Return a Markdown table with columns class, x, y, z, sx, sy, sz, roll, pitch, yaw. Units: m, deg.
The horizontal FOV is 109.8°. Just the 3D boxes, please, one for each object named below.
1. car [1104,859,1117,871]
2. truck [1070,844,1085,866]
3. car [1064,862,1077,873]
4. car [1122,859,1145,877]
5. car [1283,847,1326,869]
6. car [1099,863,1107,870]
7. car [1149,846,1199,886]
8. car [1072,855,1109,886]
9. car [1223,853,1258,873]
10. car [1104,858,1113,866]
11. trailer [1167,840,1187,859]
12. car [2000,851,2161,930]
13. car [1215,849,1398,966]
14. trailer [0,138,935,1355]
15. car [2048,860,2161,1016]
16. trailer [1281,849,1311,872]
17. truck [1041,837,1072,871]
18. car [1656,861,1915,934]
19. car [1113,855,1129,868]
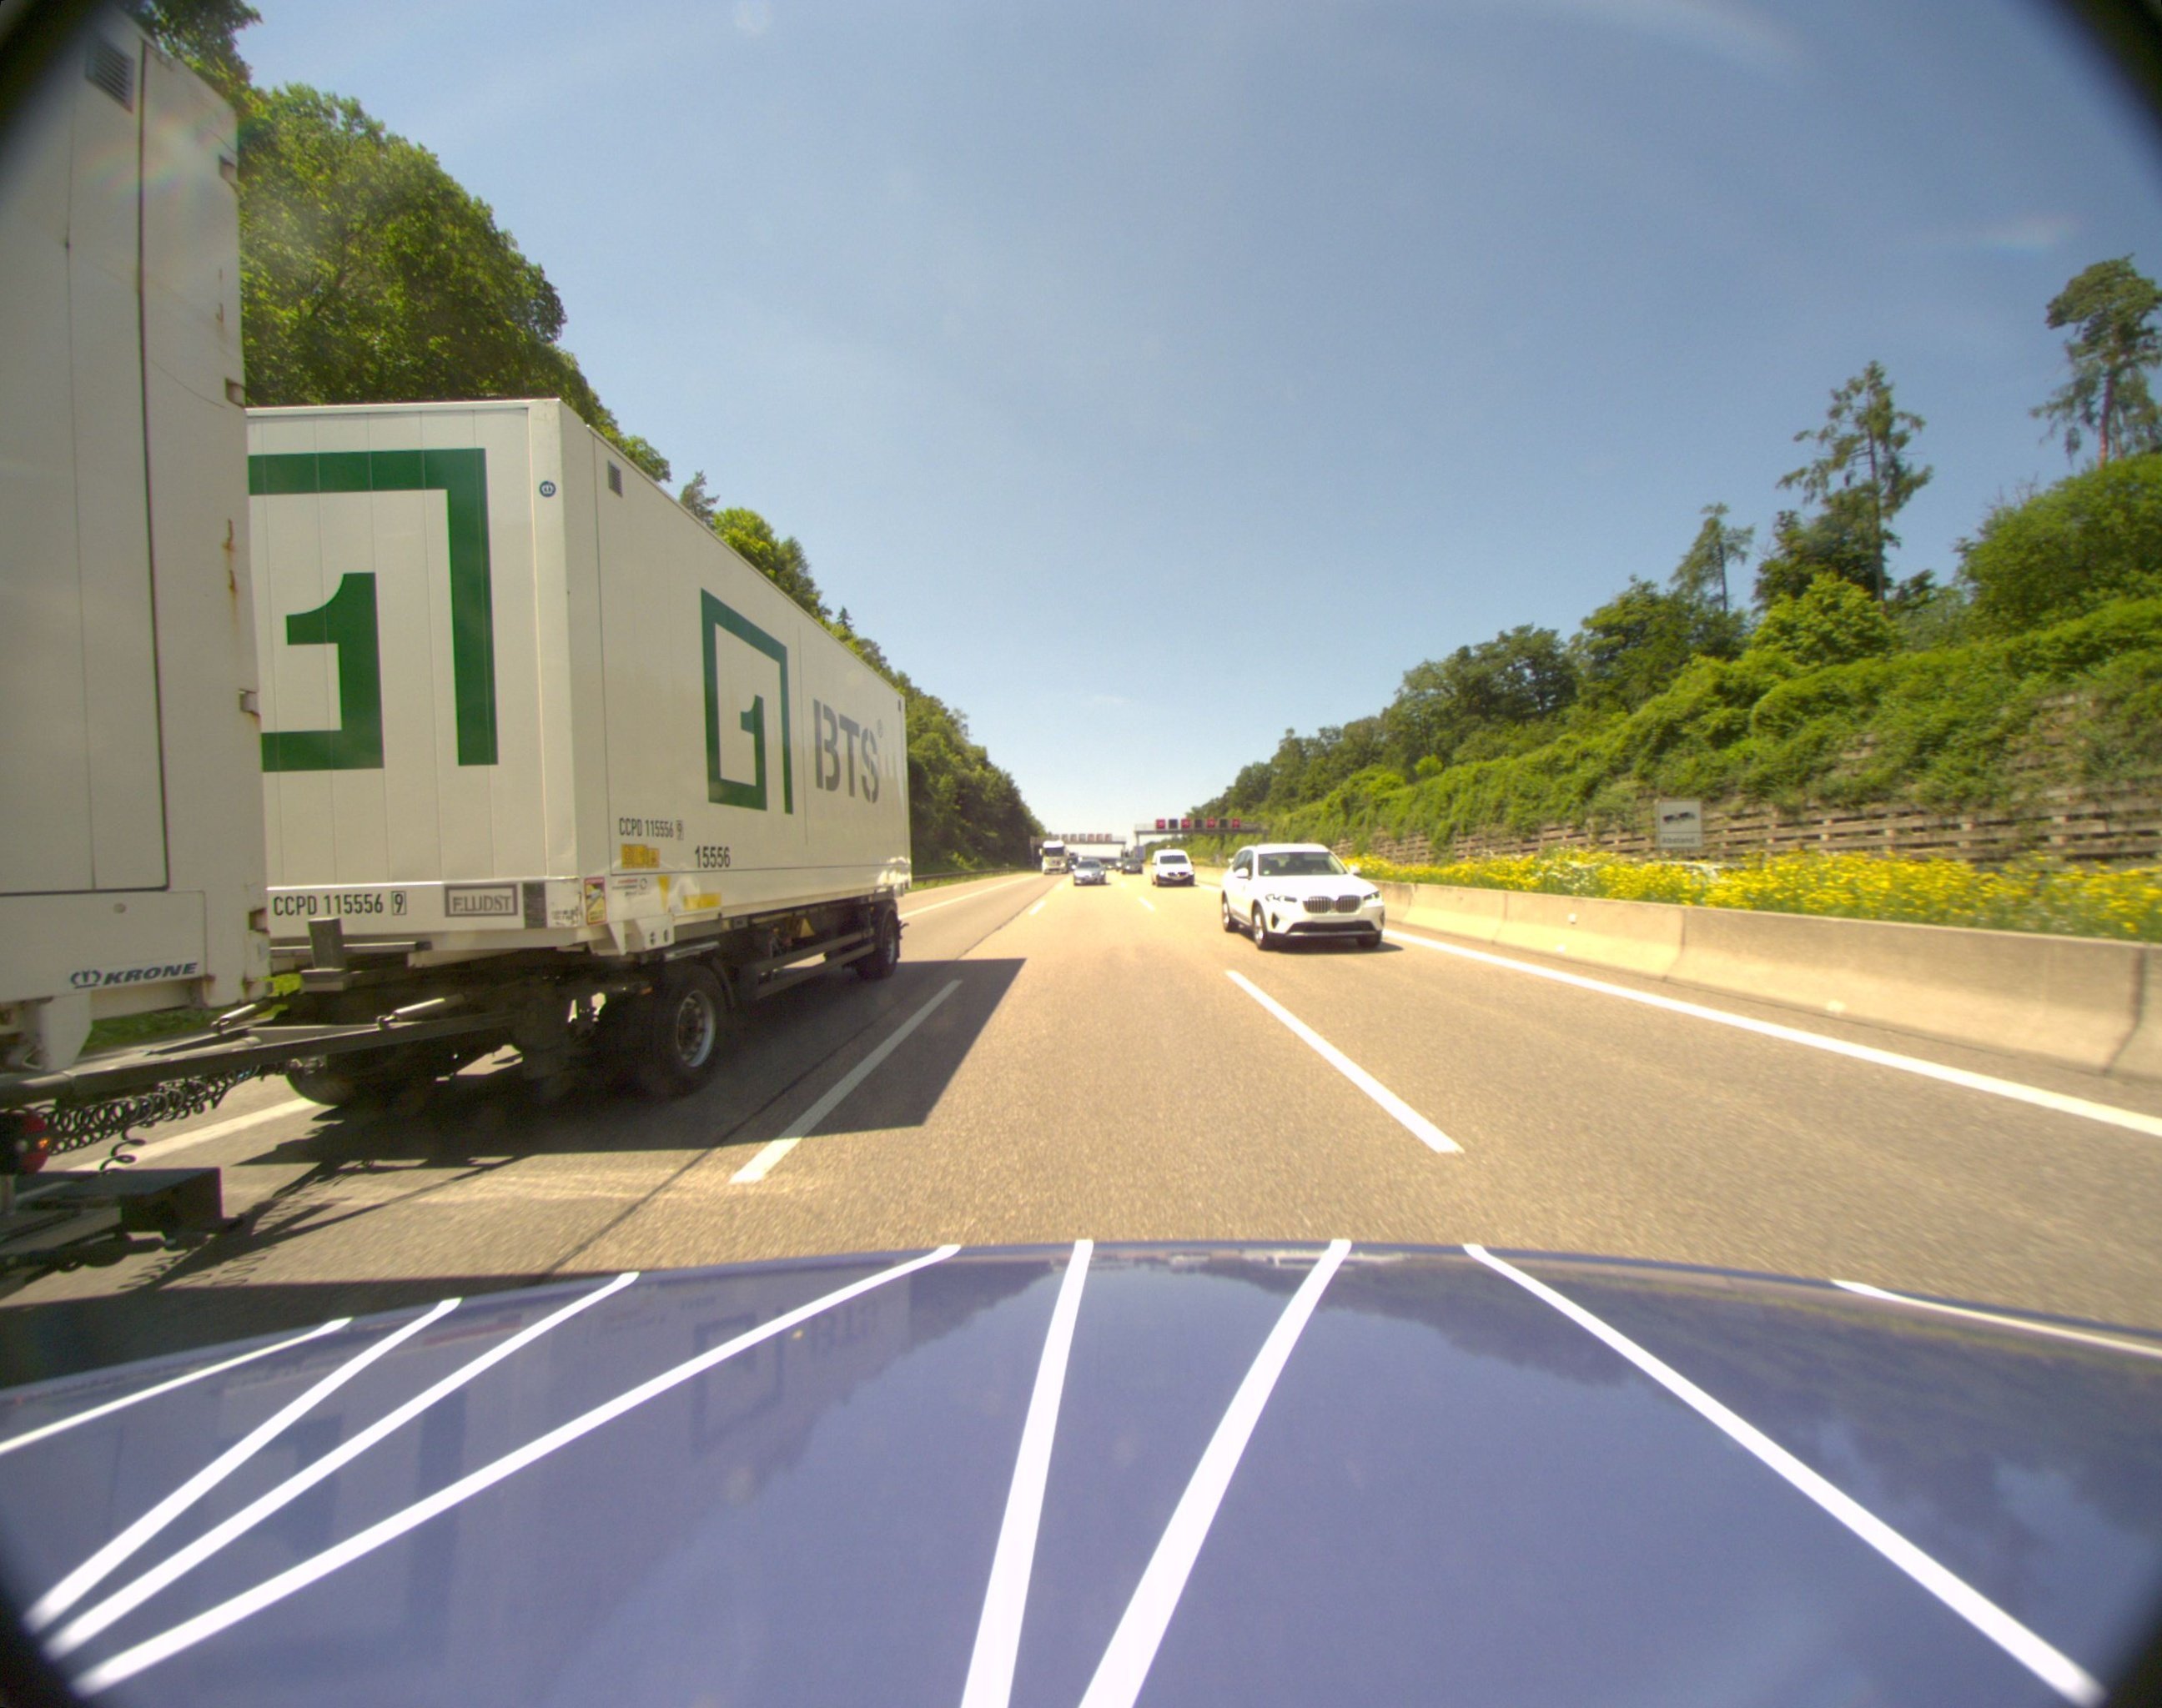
| class | x | y | z | sx | sy | sz | roll | pitch | yaw |
| --- | --- | --- | --- | --- | --- | --- | --- | --- | --- |
| car | 4.881 | 1.829 | 125.958 | 1.924 | 1.848 | 4.001 | -3 | -1 | 2 |
| truck | -0.711 | 0.271 | 162.977 | 2.627 | 4.364 | 13.089 | -3 | -1 | 1 |
| car | -1.542 | 2.054 | 115.379 | 1.770 | 1.504 | 4.000 | -3 | -1 | 0 |
| car | 4.678 | 1.264 | 68.181 | 1.770 | 1.504 | 4.726 | -3 | -1 | 0 |
| car | 16.105 | 0.283 | 54.954 | 1.942 | 1.513 | 4.204 | 0 | 0 | 2 |
| car | 6.020 | 3.408 | 205.151 | 1.924 | 1.848 | 4.001 | -3 | -1 | 2 |
| car | 4.566 | 0.597 | 37.966 | 1.998 | 1.764 | 4.502 | -3 | -1 | 2 |
| car | 0.594 | 0.890 | 41.734 | 1.843 | 1.517 | 4.502 | -3 | -1 | 2 |
| car | 12.474 | 0.664 | 59.643 | 1.792 | 1.513 | 4.203 | 0 | 0 | 0 |
| car | 6.468 | 1.855 | 176.443 | 1.924 | 1.848 | 4.001 | -3 | -1 | 2 |
| trailer | 21.869 | -0.940 | 173.691 | 2.687 | 3.991 | 14.190 | -1 | -1 | 1 |
| car | 19.246 | 0.616 | 13.076 | 1.792 | 1.336 | 4.203 | 0 | 0 | 0 |
| car | 3.650 | 0.765 | 13.158 | 1.850 | 1.634 | 4.368 | -2 | 0 | 0 |
| trailer | -3.910 | -0.277 | 7.654 | 2.687 | 4.150 | 10.066 | -2 | -1 | 1 |
| car | 11.473 | 0.823 | 6.216 | 1.792 | 1.513 | 4.203 | 0 | 0 | 0 |
| trailer | 20.131 | 0.565 | 71.306 | 1.900 | 2.104 | 3.495 | 0 | 0 | 2 |
| truck | -2.704 | 0.072 | 87.607 | 2.844 | 3.517 | 13.089 | -3 | -1 | 1 |
| car | 15.108 | 0.855 | 16.670 | 1.792 | 1.336 | 4.203 | 0 | 0 | 0 |
| car | 4.875 | 0.904 | 93.074 | 1.770 | 1.504 | 4.000 | -3 | -1 | 0 |
